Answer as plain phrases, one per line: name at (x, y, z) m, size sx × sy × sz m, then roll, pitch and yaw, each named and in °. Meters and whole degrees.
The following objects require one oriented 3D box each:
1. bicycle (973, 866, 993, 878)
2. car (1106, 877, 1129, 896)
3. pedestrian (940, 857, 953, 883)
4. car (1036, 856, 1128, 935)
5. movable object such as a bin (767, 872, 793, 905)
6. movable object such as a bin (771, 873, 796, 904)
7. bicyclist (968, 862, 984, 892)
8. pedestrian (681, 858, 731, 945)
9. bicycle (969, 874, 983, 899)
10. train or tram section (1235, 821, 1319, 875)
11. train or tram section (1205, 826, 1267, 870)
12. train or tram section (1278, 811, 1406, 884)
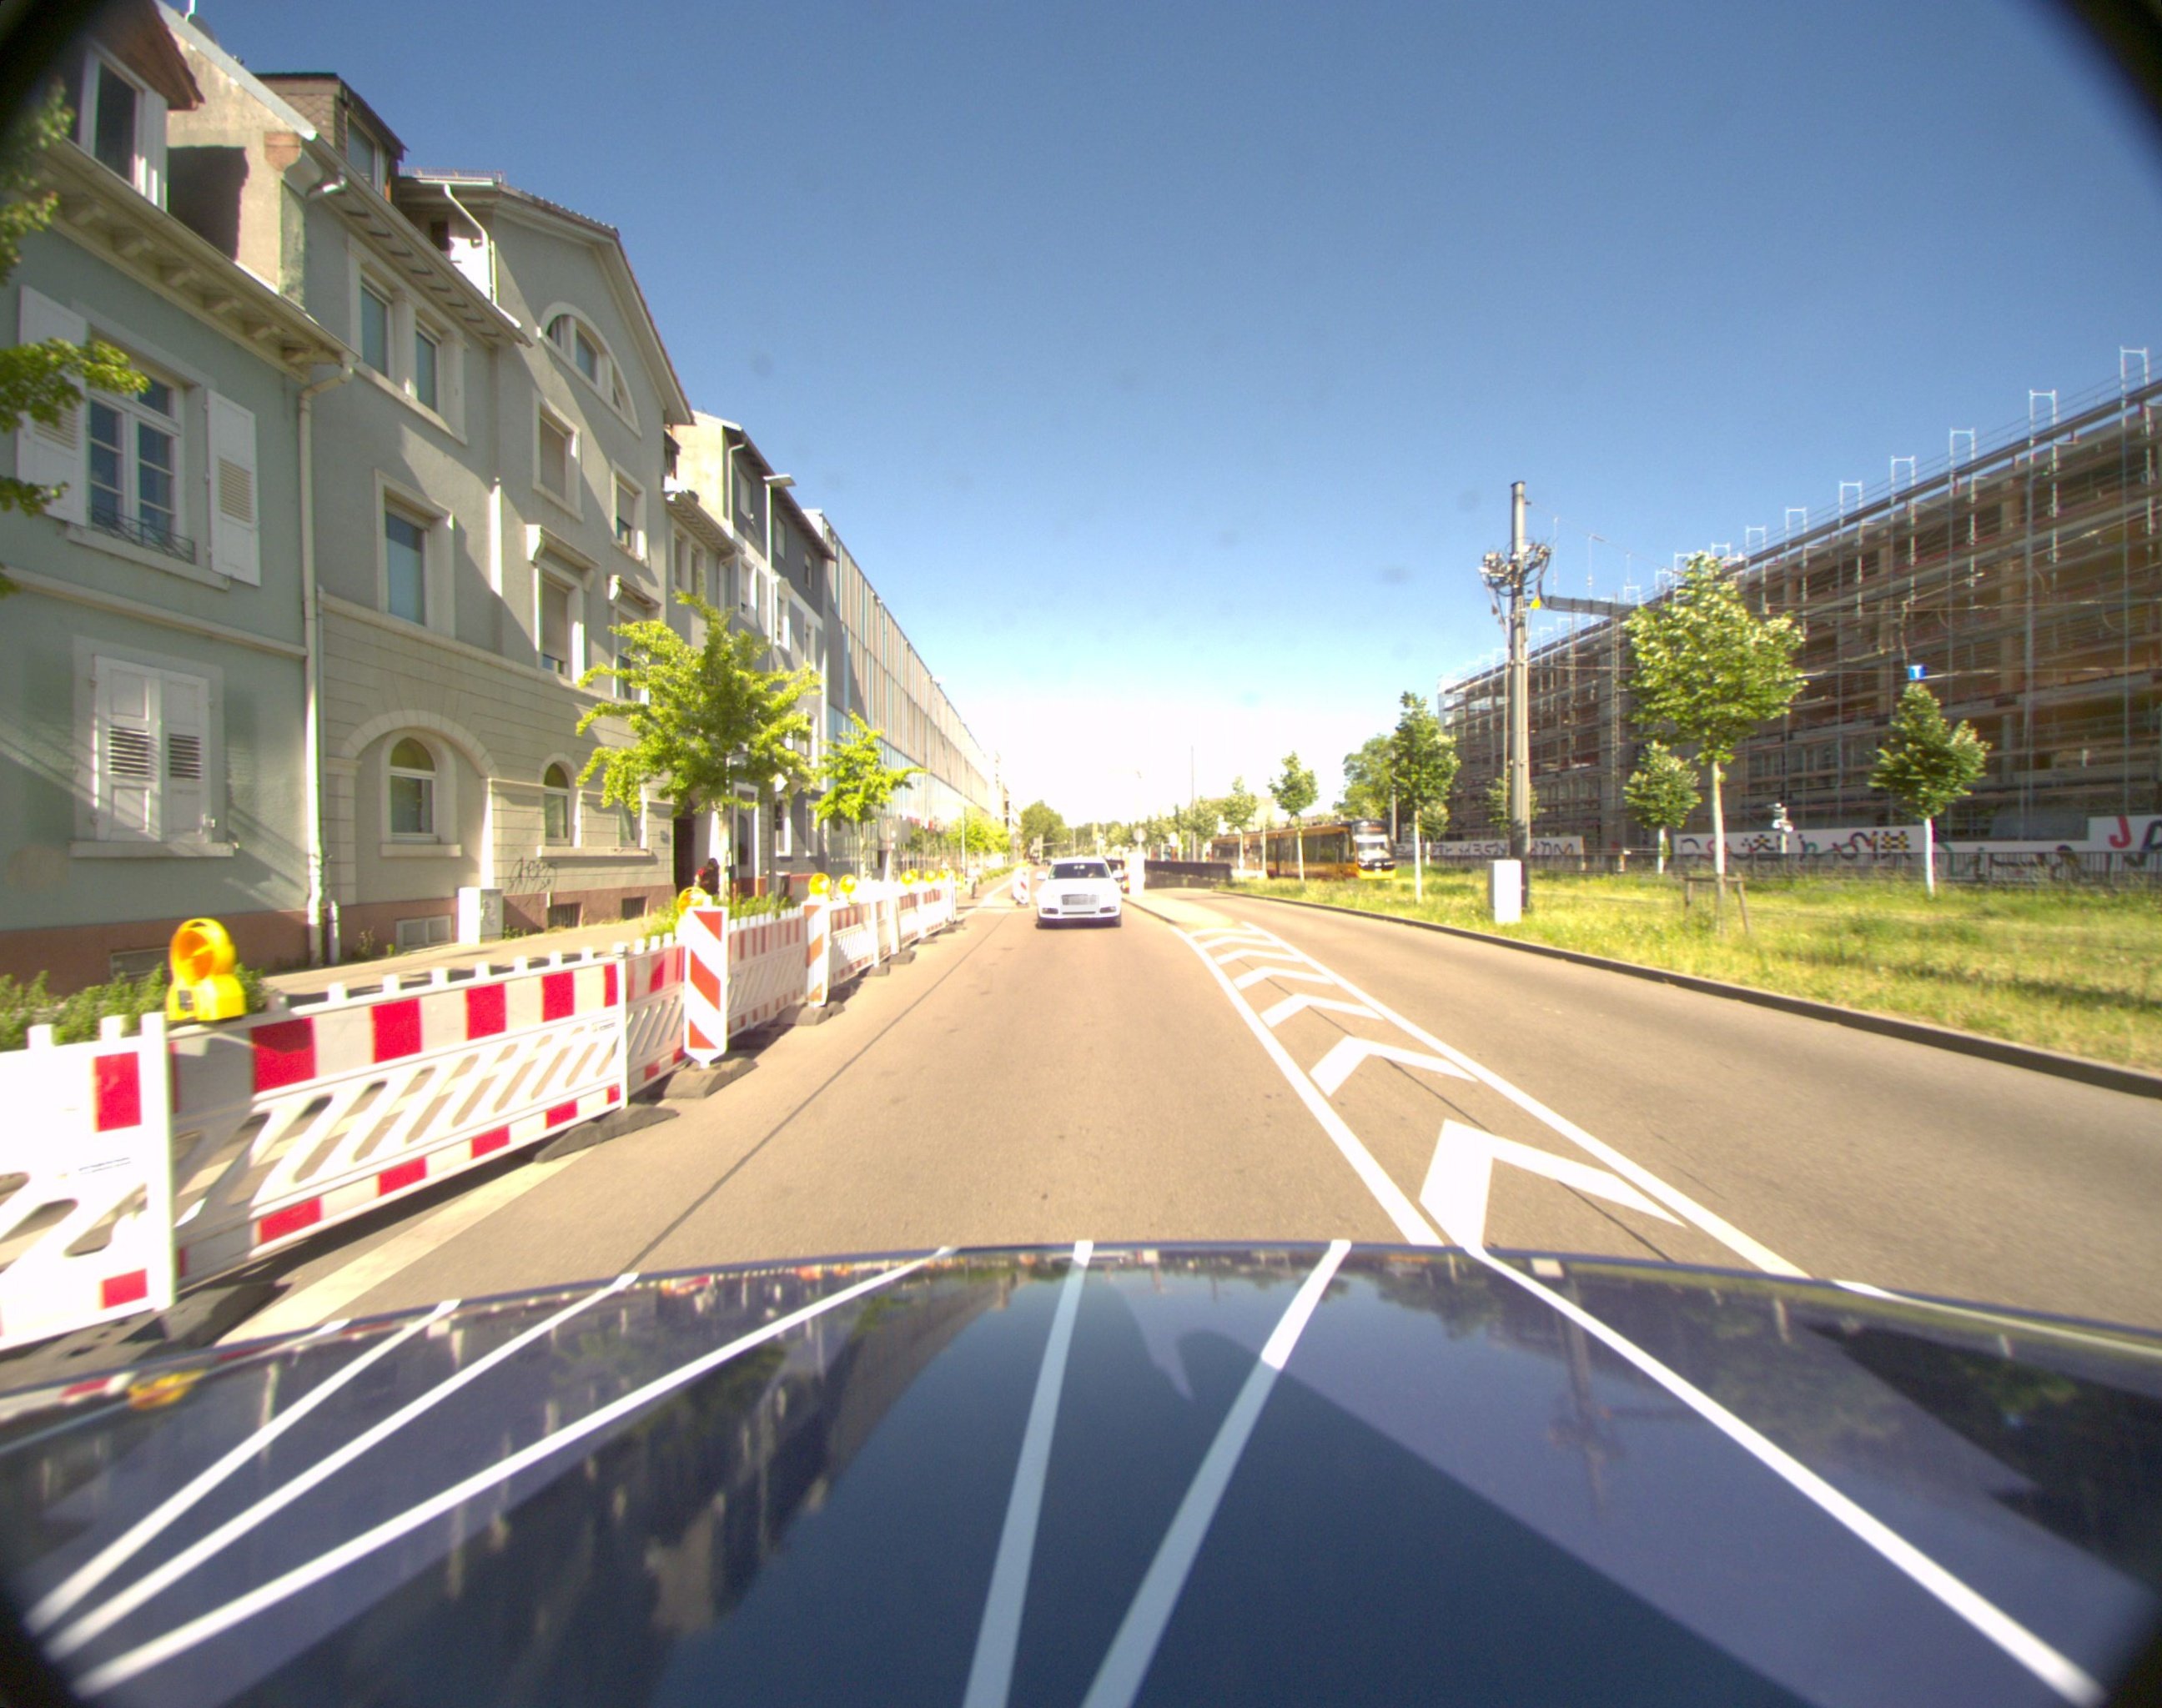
bicycle at (-8.840, 1.617, 68.457) m, size 1.741 × 1.056 × 0.467 m, roll 1°, pitch 0°, yaw -17°
car at (3.260, 2.878, 68.169) m, size 1.928 × 1.435 × 4.177 m, roll -1°, pitch 0°, yaw 0°
pedestrian at (-10.356, 1.223, 58.549) m, size 0.878 × 1.913 × 0.895 m, roll 2°, pitch 2°, yaw -2°
car at (-0.002, 0.911, 18.500) m, size 1.934 × 1.624 × 3.999 m, roll -2°, pitch 0°, yaw -1°
movable object such as a bin at (-10.485, 1.202, 26.460) m, size 0.590 × 1.101 × 0.703 m, roll -1°, pitch 0°, yaw -1°
movable object such as a bin at (-10.668, 1.227, 27.273) m, size 0.604 × 1.076 × 0.703 m, roll -1°, pitch 0°, yaw -1°
bicyclist at (-5.218, 1.140, 37.799) m, size 0.756 × 1.454 × 0.587 m, roll -2°, pitch 1°, yaw -7°
pedestrian at (-8.554, 1.052, 17.365) m, size 0.796 × 1.917 × 0.769 m, roll -2°, pitch 0°, yaw -13°
bicycle at (-5.200, 1.613, 37.865) m, size 0.610 × 1.144 × 1.986 m, roll -2°, pitch 1°, yaw -7°
train or tram section at (14.429, -0.438, 57.290) m, size 2.823 × 3.617 × 12.786 m, roll -1°, pitch 0°, yaw -1°
train or tram section at (14.075, -0.518, 70.090) m, size 2.823 × 3.617 × 12.786 m, roll -1°, pitch 0°, yaw -1°
train or tram section at (14.747, -0.367, 44.498) m, size 2.823 × 3.617 × 12.786 m, roll -1°, pitch 0°, yaw -1°
